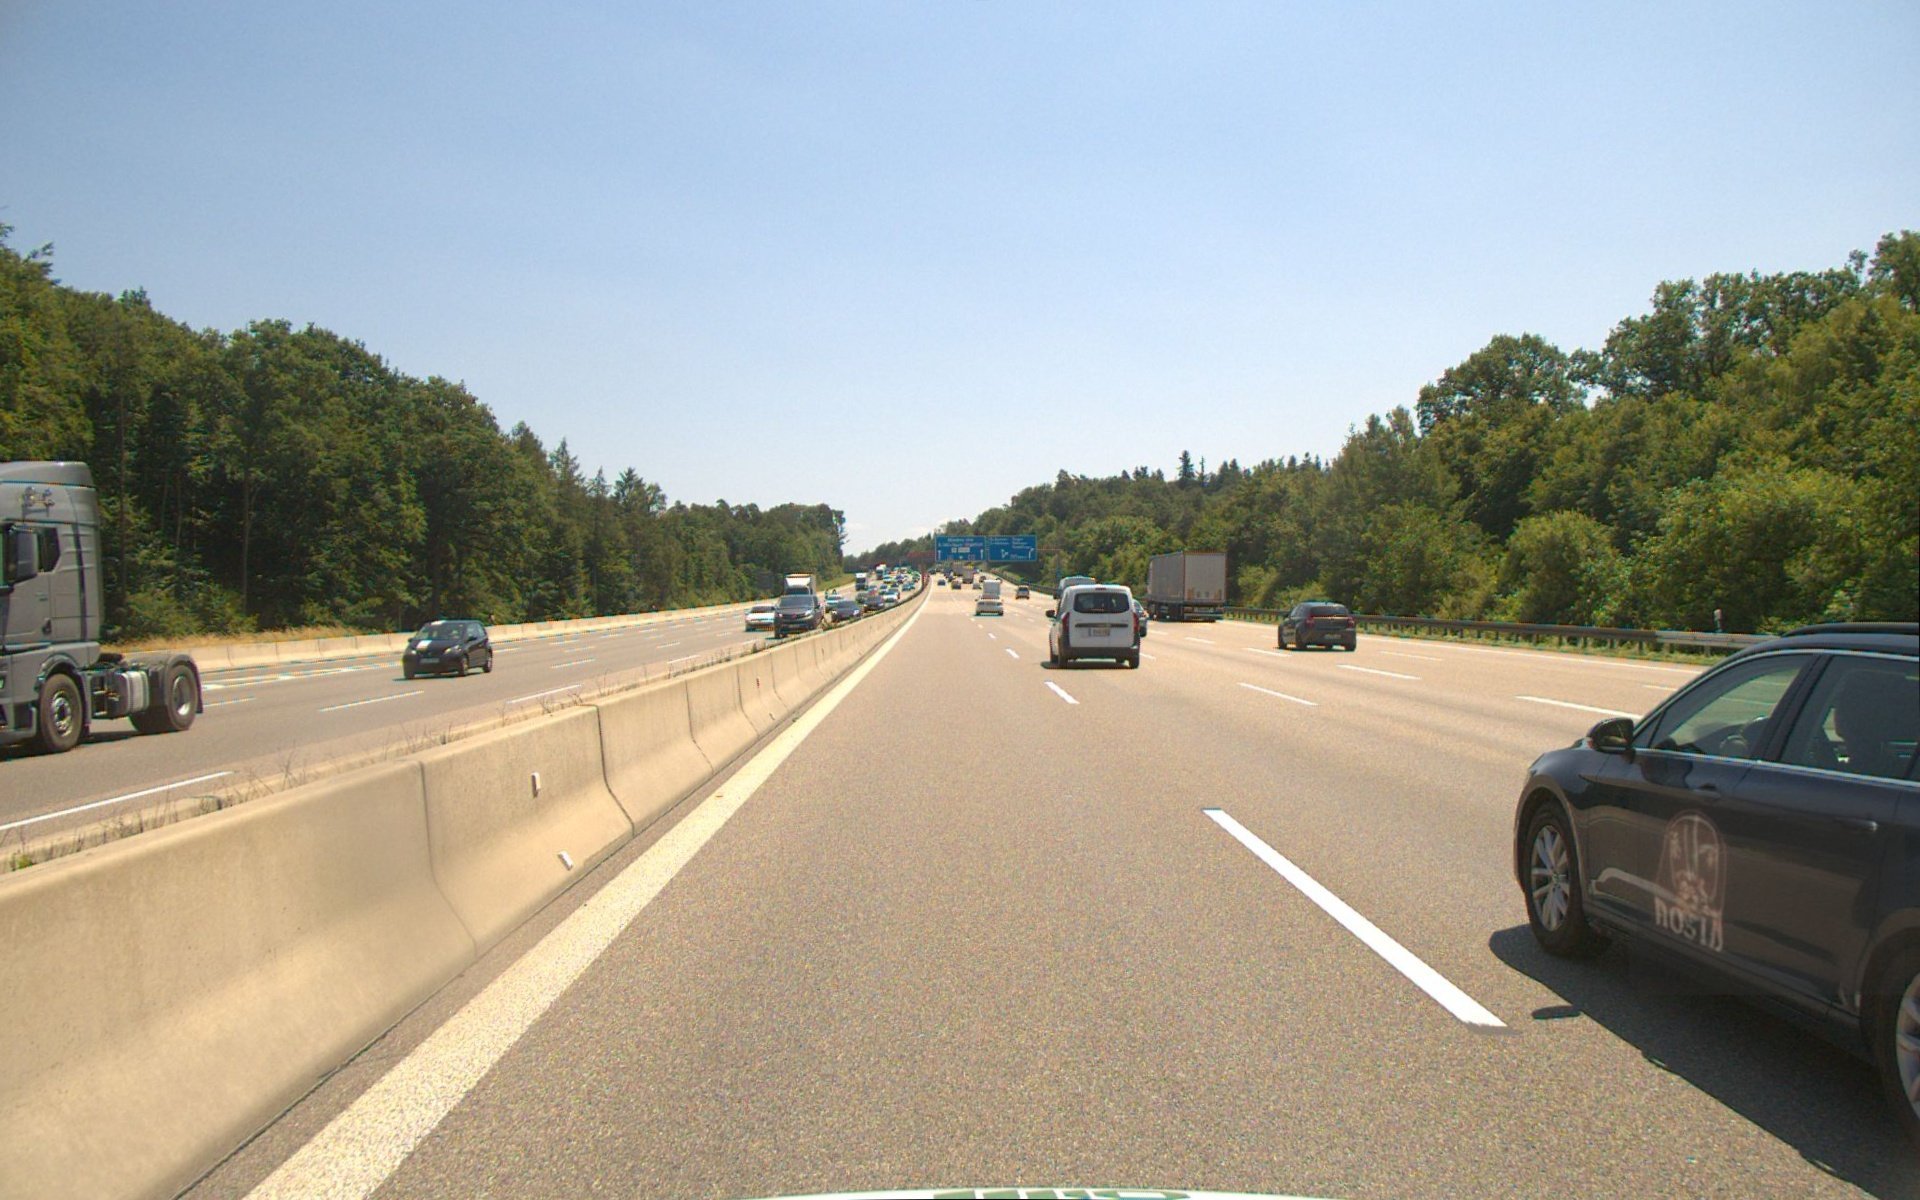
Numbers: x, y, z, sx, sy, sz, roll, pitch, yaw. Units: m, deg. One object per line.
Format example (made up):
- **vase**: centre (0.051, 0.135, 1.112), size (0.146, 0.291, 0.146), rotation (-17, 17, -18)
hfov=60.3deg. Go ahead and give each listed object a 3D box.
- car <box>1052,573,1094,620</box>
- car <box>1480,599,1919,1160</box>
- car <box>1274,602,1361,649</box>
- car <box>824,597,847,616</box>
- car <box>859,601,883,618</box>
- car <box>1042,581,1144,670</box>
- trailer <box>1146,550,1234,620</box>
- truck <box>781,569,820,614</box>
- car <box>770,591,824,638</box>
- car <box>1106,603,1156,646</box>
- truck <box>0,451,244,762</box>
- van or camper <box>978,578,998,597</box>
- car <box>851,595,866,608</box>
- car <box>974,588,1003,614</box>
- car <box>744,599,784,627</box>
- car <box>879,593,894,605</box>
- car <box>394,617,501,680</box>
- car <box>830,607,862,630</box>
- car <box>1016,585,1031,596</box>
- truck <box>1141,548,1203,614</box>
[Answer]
- **car**: centre (6.698, -0.262, 98.582), size (2.100, 2.698, 5.709), rotation (0, 1, -1)
- **car**: centre (3.400, 0.745, 5.639), size (1.694, 1.472, 4.961), rotation (0, 0, 0)
- **car**: centre (10.725, 0.757, 49.840), size (1.636, 1.296, 4.289), rotation (2, 0, -1)
- **car**: centre (-11.674, 0.602, 155.077), size (1.874, 1.690, 4.688), rotation (-2, 0, -1)
- **car**: centre (-7.858, 0.863, 146.548), size (1.874, 1.490, 4.362), rotation (-1, 0, -1)
- **car**: centre (2.974, 0.531, 37.787), size (1.822, 1.857, 4.611), rotation (-2, 0, -1)
- **trailer**: centre (14.043, -1.009, 102.296), size (3.221, 3.999, 13.888), rotation (1, 1, -1)
- **truck**: centre (-15.291, -0.815, 159.176), size (2.800, 4.083, 9.466), rotation (-1, 0, -1)
- **car**: centre (-7.293, 0.624, 74.476), size (1.859, 1.987, 5.655), rotation (-2, 0, -1)
- **car**: centre (6.627, 0.984, 64.202), size (1.473, 1.527, 3.648), rotation (-2, -2, -1)
- **truck**: centre (-13.329, 0.111, 24.300), size (2.525, 3.908, 7.016), rotation (-2, 0, -1)
- **van or camper**: centre (3.949, -1.795, 232.701), size (2.591, 2.583, 6.501), rotation (-1, 0, -1)
- **car**: centre (-12.457, 0.169, 203.840), size (1.668, 1.452, 4.612), rotation (-2, 0, -2)
- **car**: centre (1.964, 0.062, 114.655), size (1.805, 1.657, 4.552), rotation (-2, 0, -1)
- **car**: centre (-11.008, 0.730, 92.983), size (1.725, 1.489, 4.838), rotation (-1, 0, -1)
- **car**: centre (-9.220, -0.090, 206.897), size (1.788, 1.419, 4.463), rotation (-2, 0, -2)
- **car**: centre (-13.850, 1.278, 44.904), size (1.718, 1.512, 3.813), rotation (-3, 0, -1)
- **car**: centre (-7.558, 1.229, 109.826), size (1.874, 1.490, 4.586), rotation (-1, 0, -1)
- **car**: centre (8.539, -1.246, 223.135), size (1.798, 1.361, 3.642), rotation (-2, 0, -1)
- **truck**: centre (13.874, -1.250, 108.811), size (3.188, 4.178, 5.987), rotation (0, 1, -1)
